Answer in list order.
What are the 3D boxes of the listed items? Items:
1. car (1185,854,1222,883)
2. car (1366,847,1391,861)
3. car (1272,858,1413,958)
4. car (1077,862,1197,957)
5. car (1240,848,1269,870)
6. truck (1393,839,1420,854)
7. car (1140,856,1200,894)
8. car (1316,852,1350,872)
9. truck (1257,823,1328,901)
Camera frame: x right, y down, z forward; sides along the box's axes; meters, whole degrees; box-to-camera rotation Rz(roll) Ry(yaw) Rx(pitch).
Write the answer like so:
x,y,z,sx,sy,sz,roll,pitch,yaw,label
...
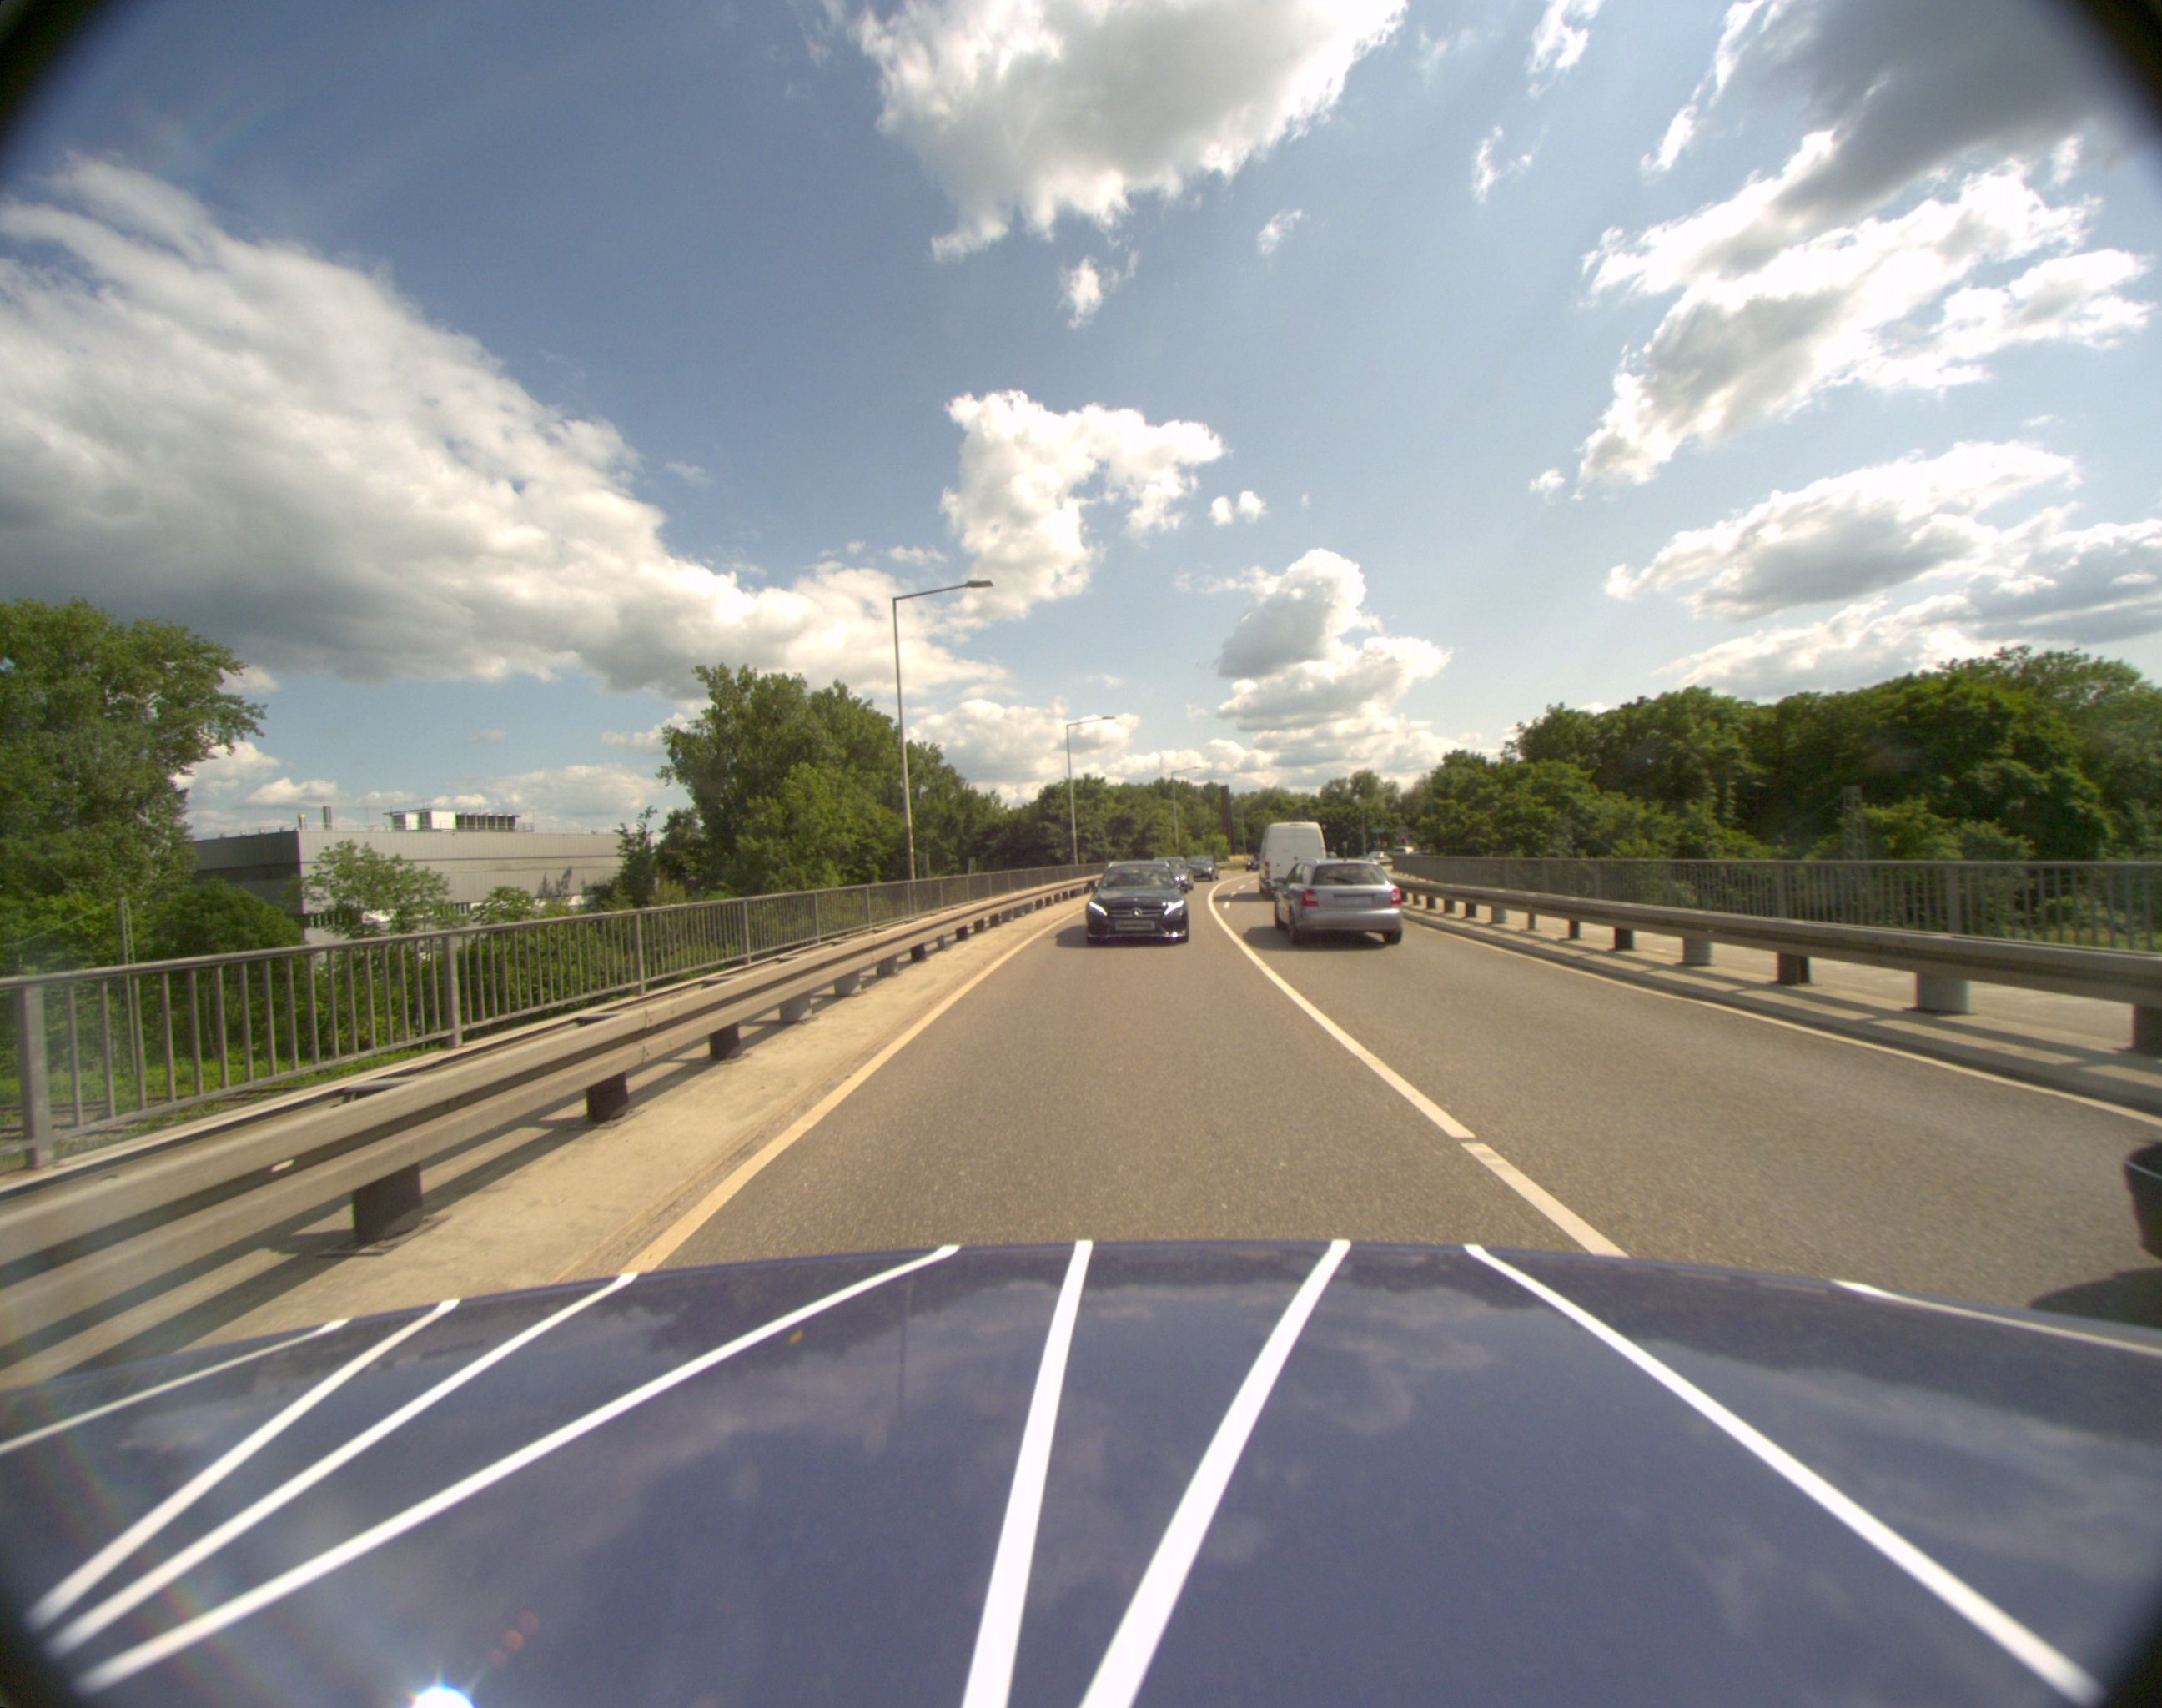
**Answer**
x,y,z,sx,sy,sz,roll,pitch,yaw,label
7.028,0.792,43.334,1.820,1.329,4.732,-4,1,11,car
31.894,0.026,81.398,1.795,1.367,4.589,-1,1,31,car
4.546,0.850,13.816,1.769,1.451,4.301,-1,1,10,car
1.238,0.933,14.755,1.793,1.427,4.373,0,1,11,car
14.615,0.401,63.811,1.635,1.505,3.724,-4,2,24,car
43.919,-1.029,102.511,1.961,1.902,5.381,-1,0,39,truck
3.744,0.842,31.533,1.856,1.355,4.004,-1,1,15,car
19.497,0.605,58.762,1.660,1.445,4.334,0,1,30,car
7.450,0.254,27.279,1.997,2.493,5.952,-1,0,11,truck
